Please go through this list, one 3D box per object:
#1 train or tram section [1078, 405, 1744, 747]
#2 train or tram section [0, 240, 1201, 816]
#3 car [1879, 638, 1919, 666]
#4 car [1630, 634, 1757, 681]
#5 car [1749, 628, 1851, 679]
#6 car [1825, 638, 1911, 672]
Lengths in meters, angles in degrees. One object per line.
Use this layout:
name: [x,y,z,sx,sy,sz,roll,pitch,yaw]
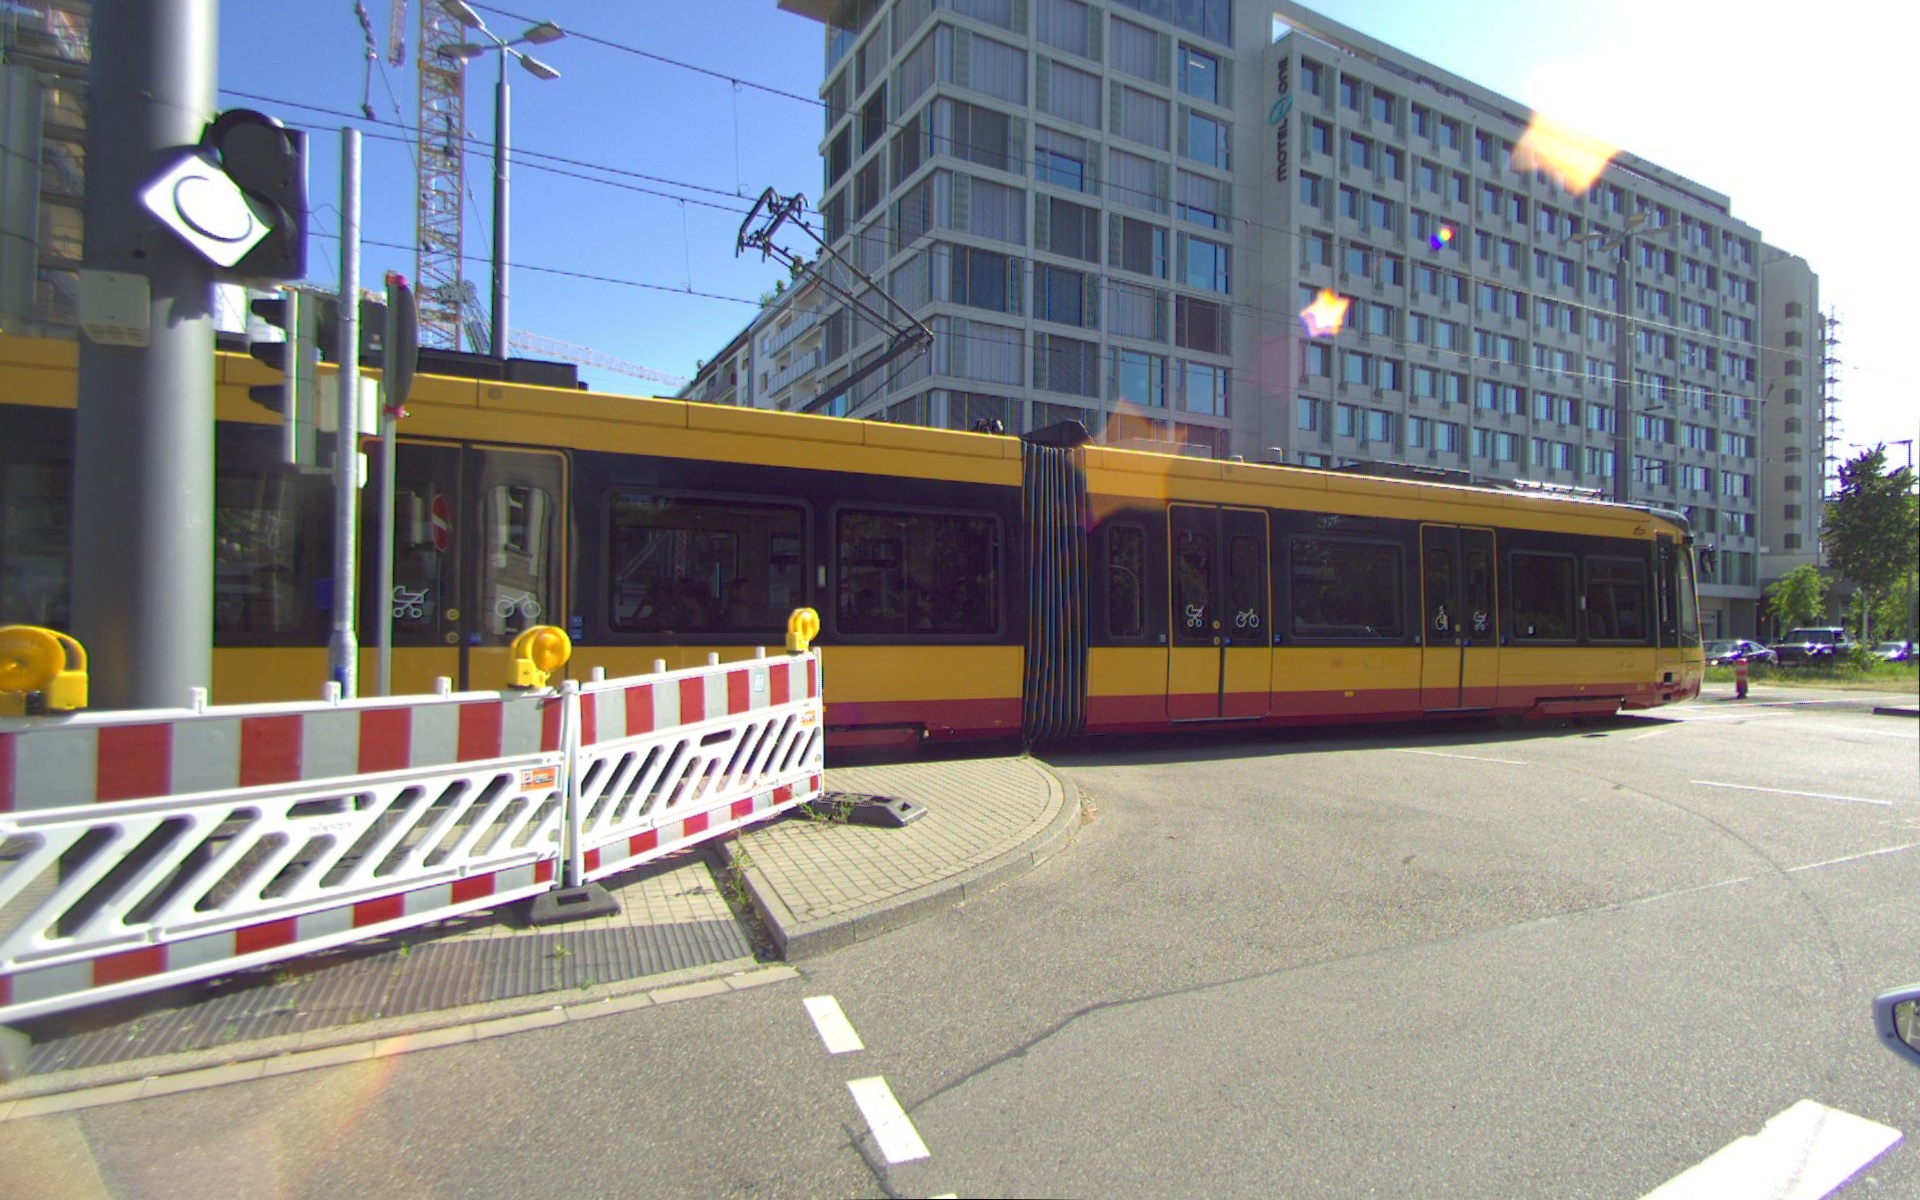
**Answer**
train or tram section: [7.095,-0.102,14.485,11.534,3.718,1.986,2,0,-28]
train or tram section: [-2.833,-0.343,9.318,11.169,3.718,1.986,2,0,-27]
car: [57.874,3.177,60.896,3.950,1.572,1.985,2,0,-28]
car: [26.485,2.067,36.284,3.943,1.572,1.989,2,0,-23]
car: [33.108,2.070,39.574,4.241,1.843,1.981,2,0,-34]
car: [45.223,2.716,50.024,3.950,1.572,1.985,2,0,-28]
